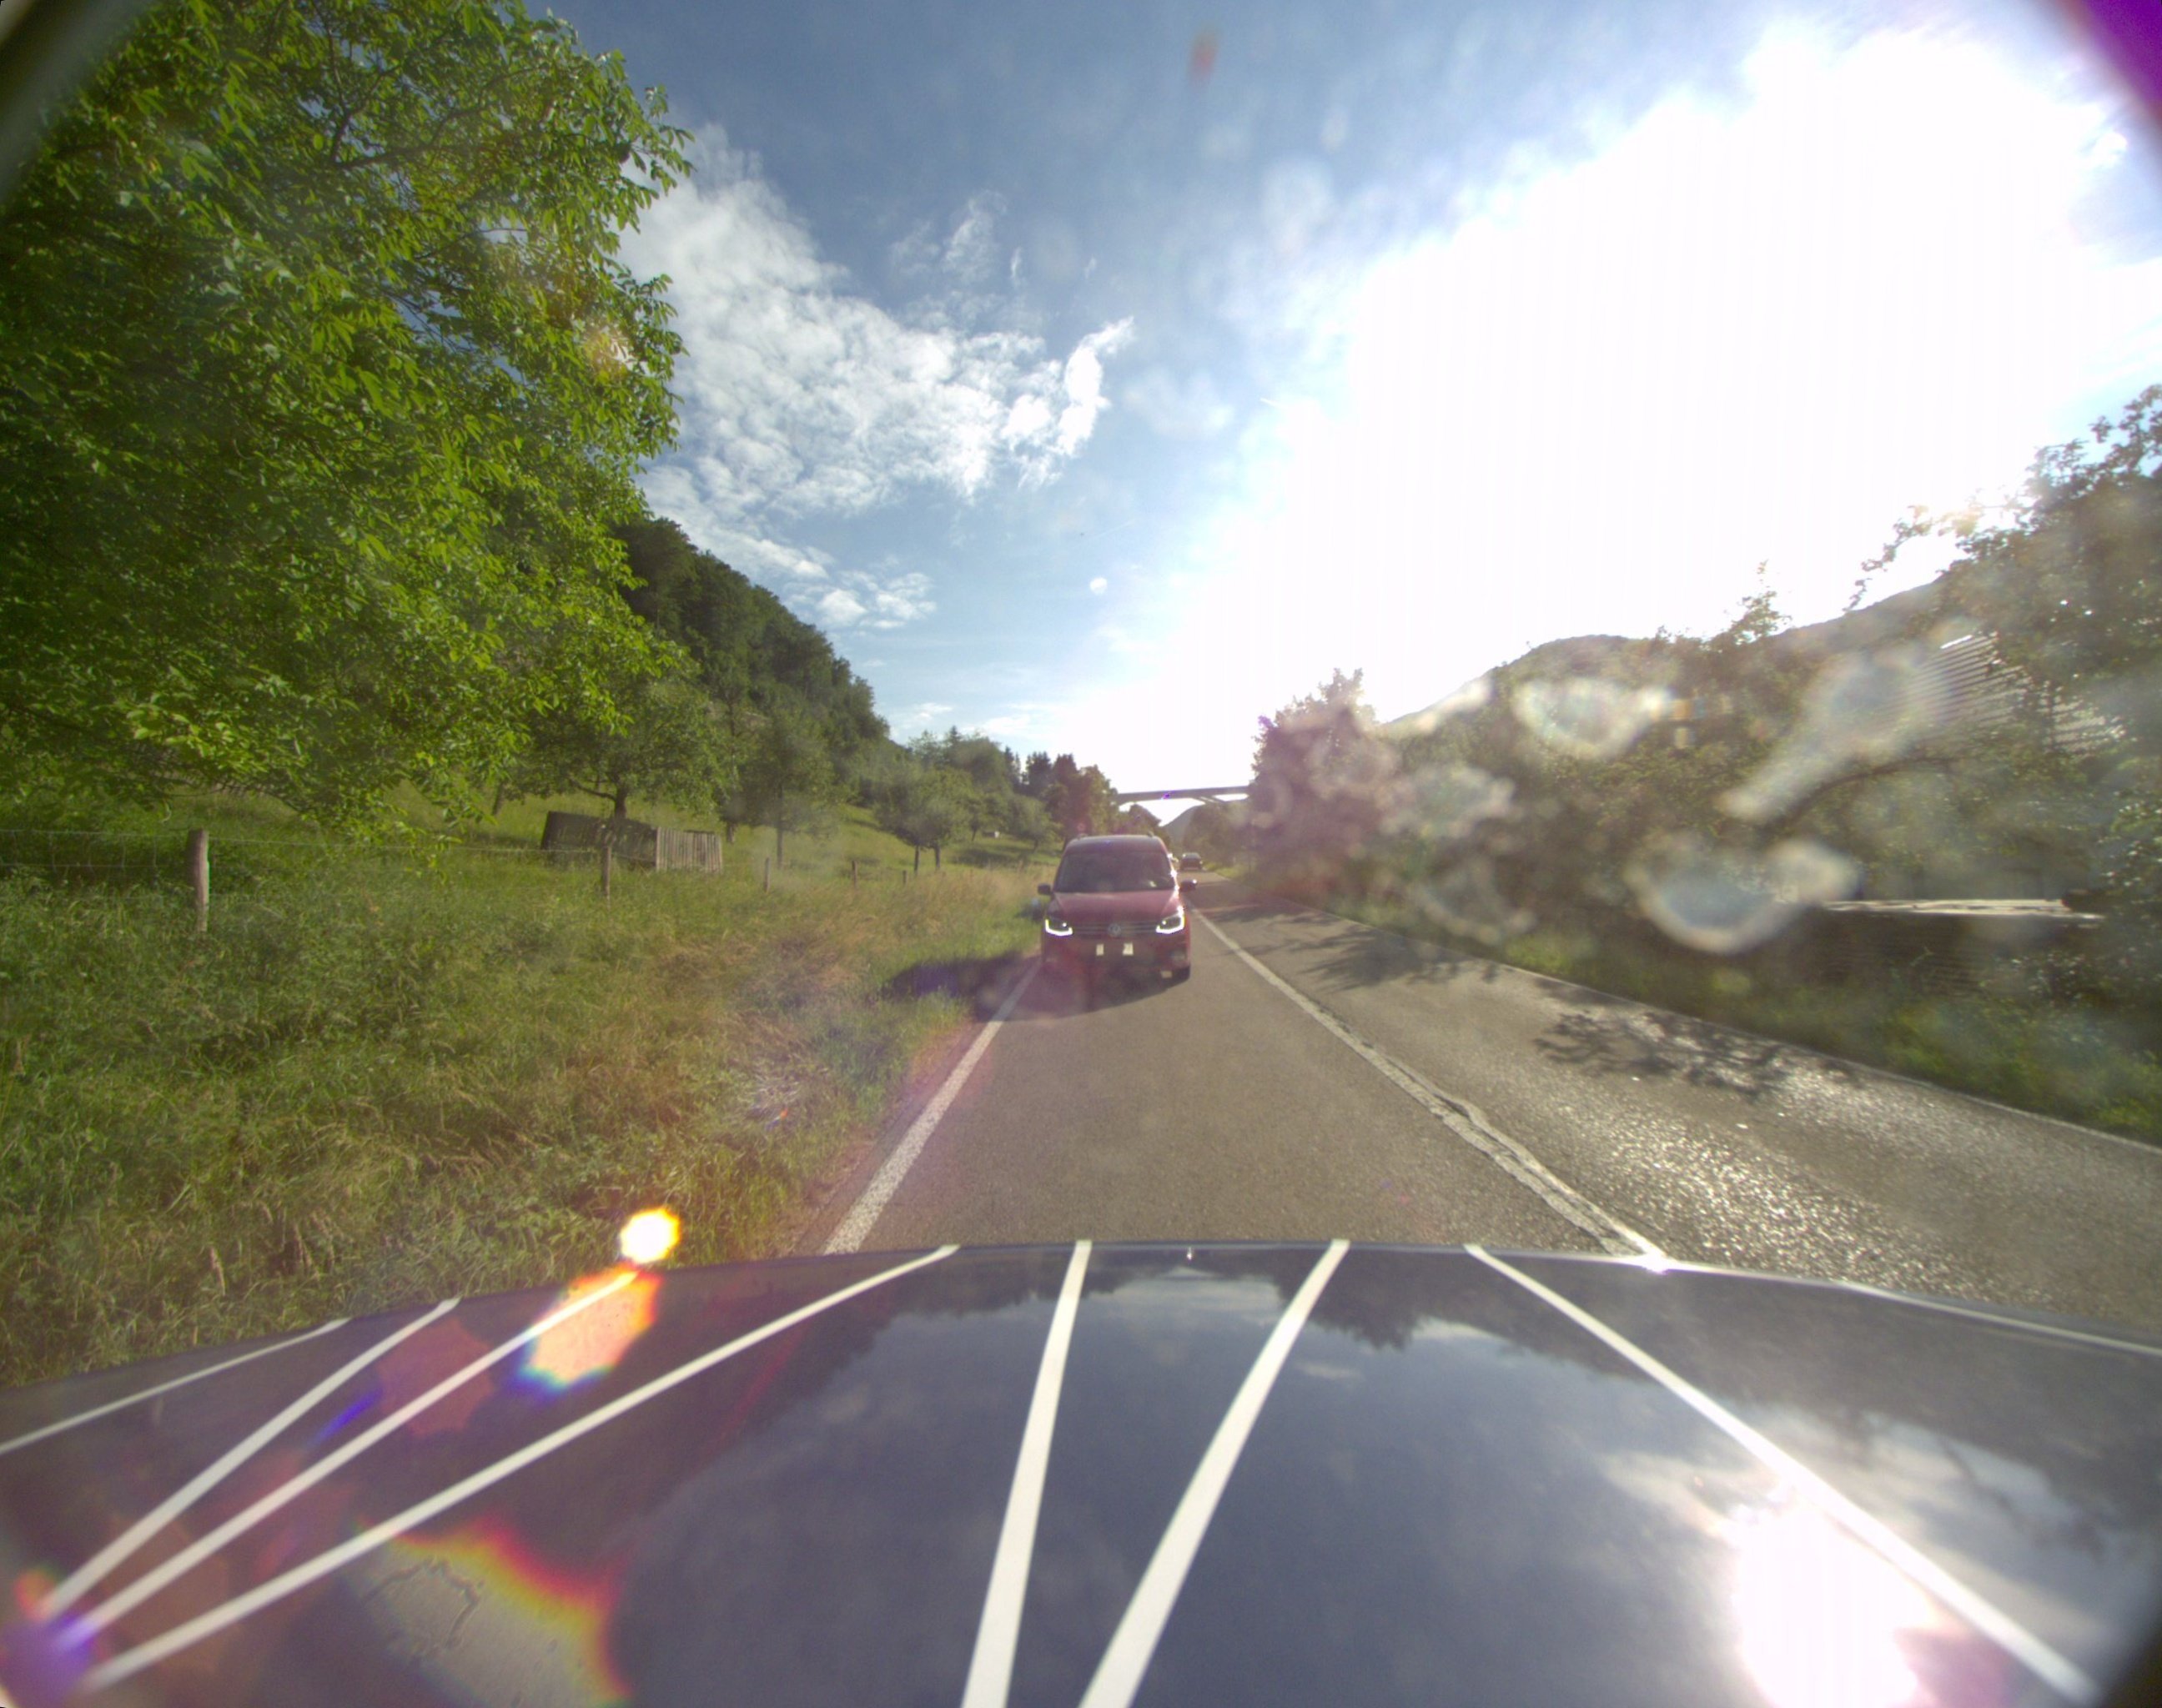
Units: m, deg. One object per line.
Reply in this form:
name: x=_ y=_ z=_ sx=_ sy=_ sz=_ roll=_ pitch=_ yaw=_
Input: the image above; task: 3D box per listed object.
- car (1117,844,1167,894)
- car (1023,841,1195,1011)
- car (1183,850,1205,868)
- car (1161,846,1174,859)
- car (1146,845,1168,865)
car: x=2.398 y=0.535 z=29.918 sx=1.758 sy=1.745 sz=4.001 roll=-2 pitch=1 yaw=4
car: x=0.441 y=0.733 z=10.235 sx=1.759 sy=1.745 sz=4.430 roll=-2 pitch=1 yaw=4
car: x=9.237 y=0.394 z=62.330 sx=1.597 sy=1.346 sz=4.204 roll=-2 pitch=1 yaw=5
car: x=14.085 y=-0.185 z=124.400 sx=1.998 sy=2.002 sz=4.001 roll=-2 pitch=1 yaw=5
car: x=7.845 y=0.066 z=78.843 sx=1.998 sy=2.002 sz=4.000 roll=-2 pitch=1 yaw=4
